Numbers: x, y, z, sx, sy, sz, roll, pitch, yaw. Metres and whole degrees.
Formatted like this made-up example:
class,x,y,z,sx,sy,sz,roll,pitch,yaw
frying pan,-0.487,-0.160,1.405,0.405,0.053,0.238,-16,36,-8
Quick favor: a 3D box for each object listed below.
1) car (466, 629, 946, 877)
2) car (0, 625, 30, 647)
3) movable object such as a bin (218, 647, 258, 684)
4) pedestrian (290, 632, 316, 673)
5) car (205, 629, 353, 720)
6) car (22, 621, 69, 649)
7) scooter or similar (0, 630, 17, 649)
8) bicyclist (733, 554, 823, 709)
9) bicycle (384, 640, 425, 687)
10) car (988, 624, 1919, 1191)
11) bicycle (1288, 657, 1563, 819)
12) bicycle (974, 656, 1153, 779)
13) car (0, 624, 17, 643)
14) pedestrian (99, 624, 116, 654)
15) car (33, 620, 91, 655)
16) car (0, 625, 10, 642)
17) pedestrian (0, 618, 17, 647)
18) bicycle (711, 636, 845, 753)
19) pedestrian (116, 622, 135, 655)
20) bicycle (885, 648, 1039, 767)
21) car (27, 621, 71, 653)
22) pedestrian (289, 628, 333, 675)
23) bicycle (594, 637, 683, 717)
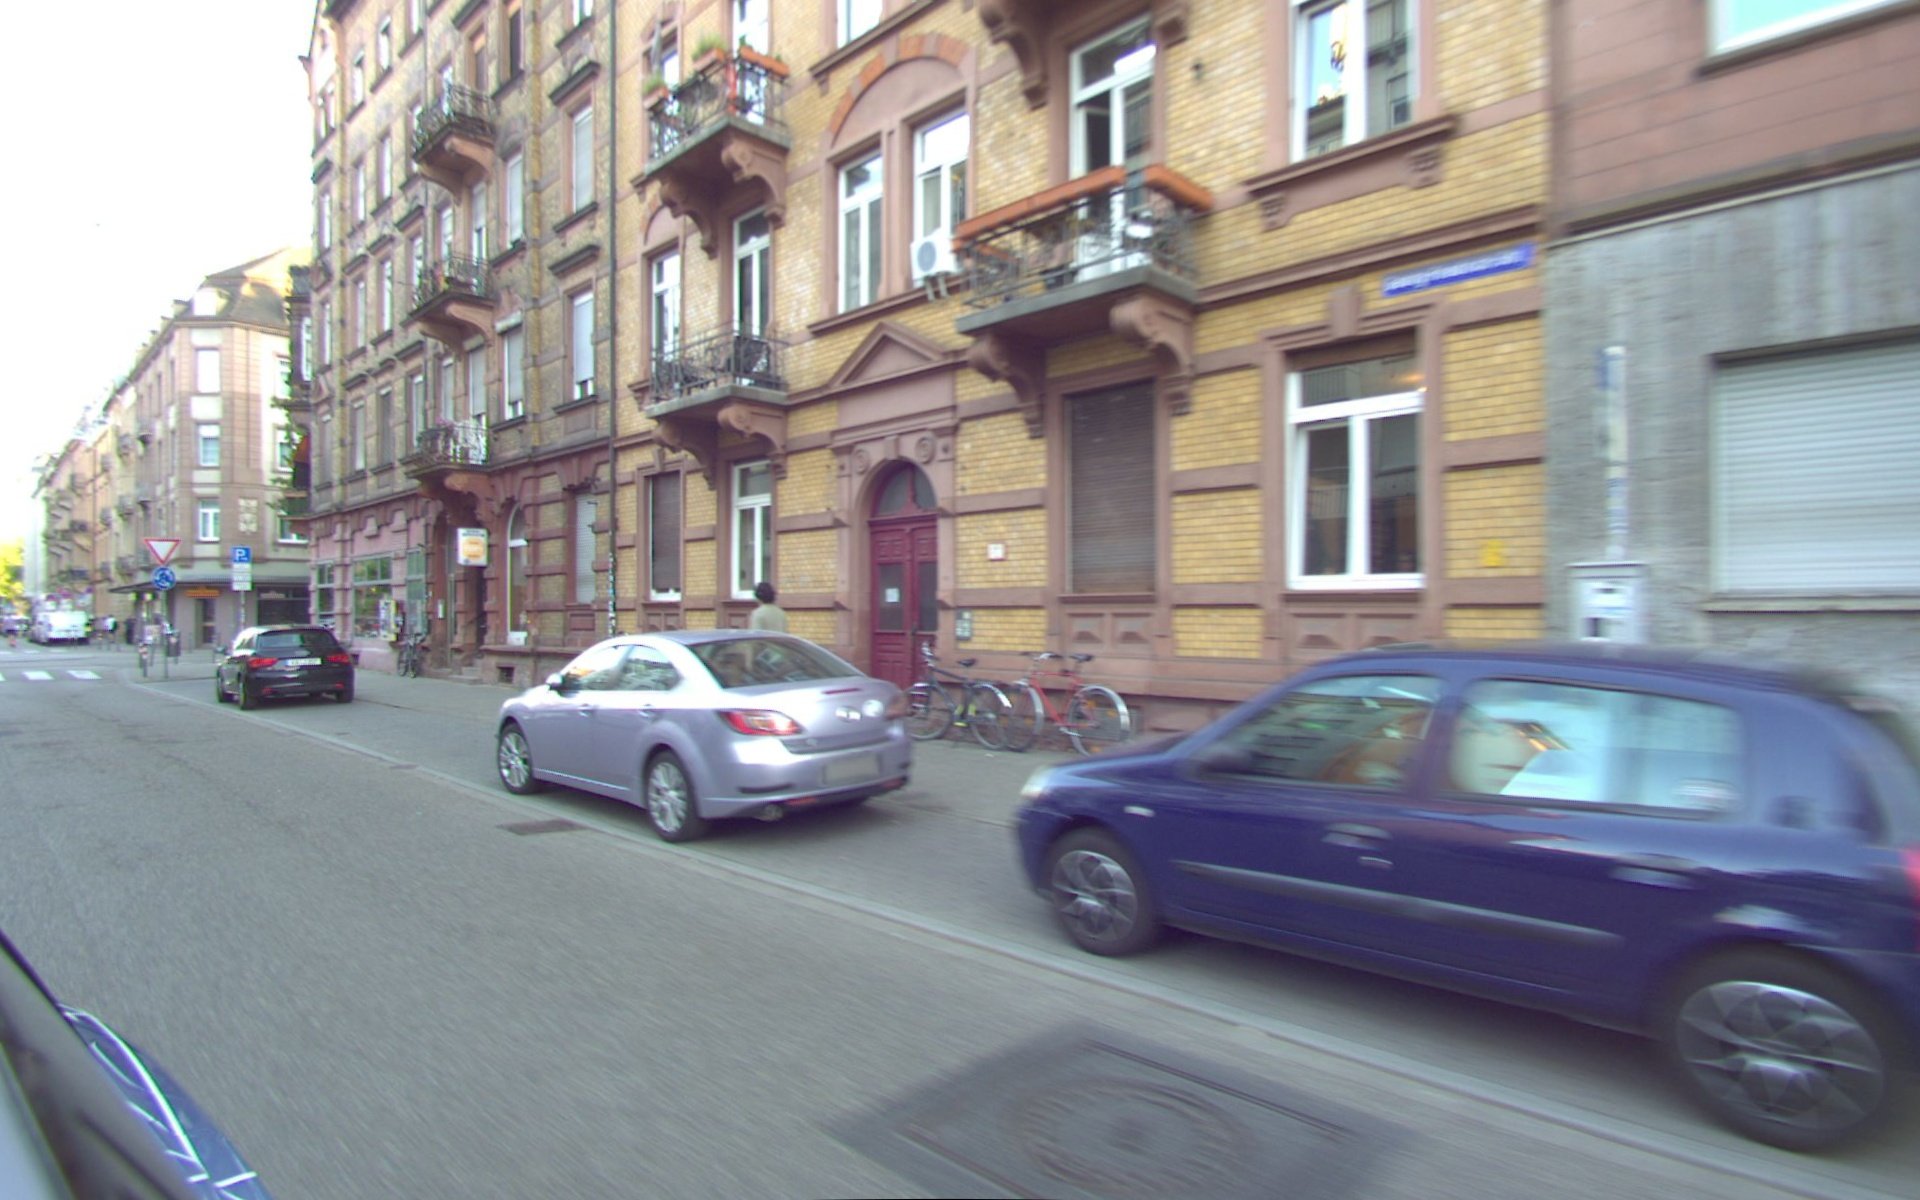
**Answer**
class,x,y,z,sx,sy,sz,roll,pitch,yaw
car,-2.335,0.993,8.377,4.583,1.431,1.703,-1,0,44
car,-81.636,3.094,87.078,4.542,1.835,2.111,-1,-1,45
movable object such as a bin,-19.567,1.763,27.427,0.729,0.922,0.753,0,0,41
pedestrian,-19.132,1.522,29.477,0.497,1.152,0.792,0,0,-44
car,-12.528,1.276,18.532,1.673,1.431,3.858,0,-1,-43
car,-61.328,2.323,67.848,2.111,1.835,4.543,0,-1,-45
scooter or similar,-55.502,2.289,58.852,1.170,1.112,0.799,-2,-3,38
bicyclist,-2.143,0.350,11.915,0.700,1.742,0.843,0,0,-45
bicycle,-13.196,1.486,24.025,0.420,1.061,1.900,0,-1,-42
car,2.000,0.843,4.207,1.567,1.431,3.698,0,-1,-45
bicycle,3.509,0.995,7.766,1.849,1.030,0.444,-2,2,45
bicycle,0.981,1.106,9.960,1.760,1.045,0.543,-2,0,45
car,-95.912,3.335,101.431,1.969,1.752,4.005,0,0,-42
pedestrian,-51.952,2.378,61.649,0.737,1.757,1.214,-1,-1,-42
car,-52.849,2.159,59.532,4.769,1.973,2.112,-1,-1,43
car,-106.568,3.689,112.129,1.841,1.752,3.804,0,0,-42
pedestrian,-55.503,1.867,58.867,0.671,1.673,0.799,-2,-3,38
bicycle,-2.167,1.063,11.929,0.700,1.205,1.743,0,0,-44
pedestrian,-45.780,2.090,55.509,0.644,1.792,0.694,-1,-2,-28
bicycle,-0.013,1.116,10.951,1.760,1.132,0.543,-2,0,45
car,-57.367,2.293,63.685,1.853,1.918,4.329,0,-1,-45
pedestrian,-18.434,1.456,28.751,0.904,1.264,0.644,-2,1,29
bicycle,-5.198,1.197,16.282,0.521,1.180,2.050,-2,0,-42
